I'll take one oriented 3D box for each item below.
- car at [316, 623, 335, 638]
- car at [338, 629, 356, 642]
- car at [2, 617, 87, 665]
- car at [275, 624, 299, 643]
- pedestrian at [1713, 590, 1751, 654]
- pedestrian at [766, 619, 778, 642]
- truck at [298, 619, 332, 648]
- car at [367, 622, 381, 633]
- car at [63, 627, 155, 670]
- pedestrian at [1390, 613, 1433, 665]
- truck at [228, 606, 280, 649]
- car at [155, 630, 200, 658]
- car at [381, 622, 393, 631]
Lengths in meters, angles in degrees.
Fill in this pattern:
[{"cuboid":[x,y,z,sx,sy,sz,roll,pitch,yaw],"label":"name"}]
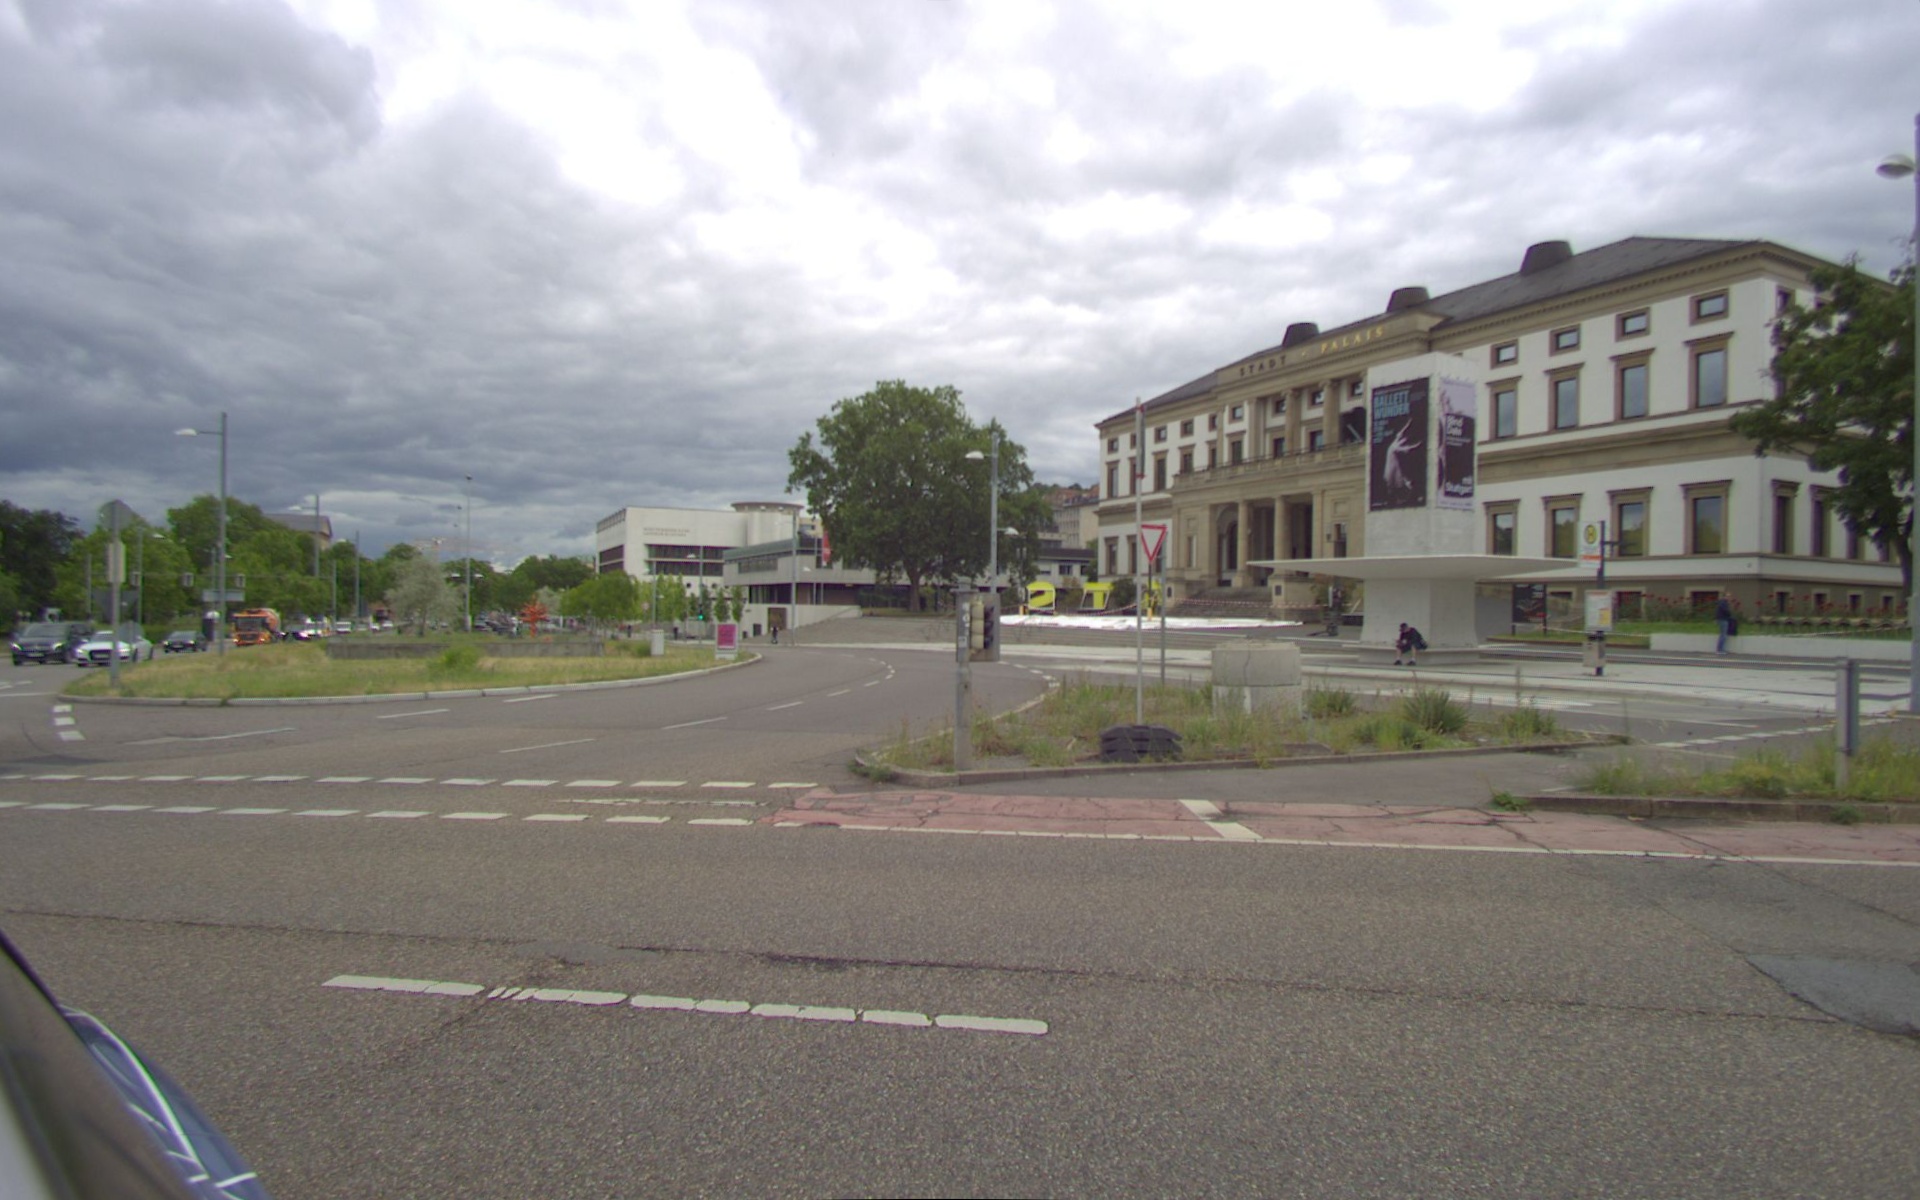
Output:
[{"cuboid":[-84.115,4.060,134.166,1.753,1.859,3.811,0,-1,-27],"label":"car"},{"cuboid":[-91.196,5.250,150.537,1.753,1.859,3.811,0,-1,-24],"label":"car"},{"cuboid":[-41.111,1.792,45.546,1.829,2.003,4.656,1,-1,-30],"label":"car"},{"cuboid":[-71.729,3.538,107.870,1.753,1.922,3.811,0,-1,-27],"label":"car"},{"cuboid":[22.260,0.639,29.180,0.594,1.827,0.597,0,-1,-12],"label":"pedestrian"},{"cuboid":[-14.786,2.401,79.692,0.672,1.761,0.893,0,-1,-32],"label":"pedestrian"},{"cuboid":[-65.510,3.347,102.846,1.923,2.805,5.808,0,-1,-22],"label":"truck"},{"cuboid":[-107.865,5.087,186.243,1.753,1.859,3.811,0,-1,-24],"label":"car"},{"cuboid":[-35.187,1.973,41.985,2.061,1.621,4.426,1,-1,-29],"label":"car"},{"cuboid":[12.121,1.031,27.165,0.694,1.363,0.763,0,-1,-21],"label":"pedestrian"},{"cuboid":[-63.098,2.421,90.591,2.681,3.643,9.207,0,-1,-28],"label":"truck"},{"cuboid":[-52.120,2.926,67.481,1.829,1.752,3.752,0,-1,-29],"label":"car"},{"cuboid":[-116.736,5.341,206.125,1.753,1.859,3.811,0,-1,-24],"label":"car"}]
